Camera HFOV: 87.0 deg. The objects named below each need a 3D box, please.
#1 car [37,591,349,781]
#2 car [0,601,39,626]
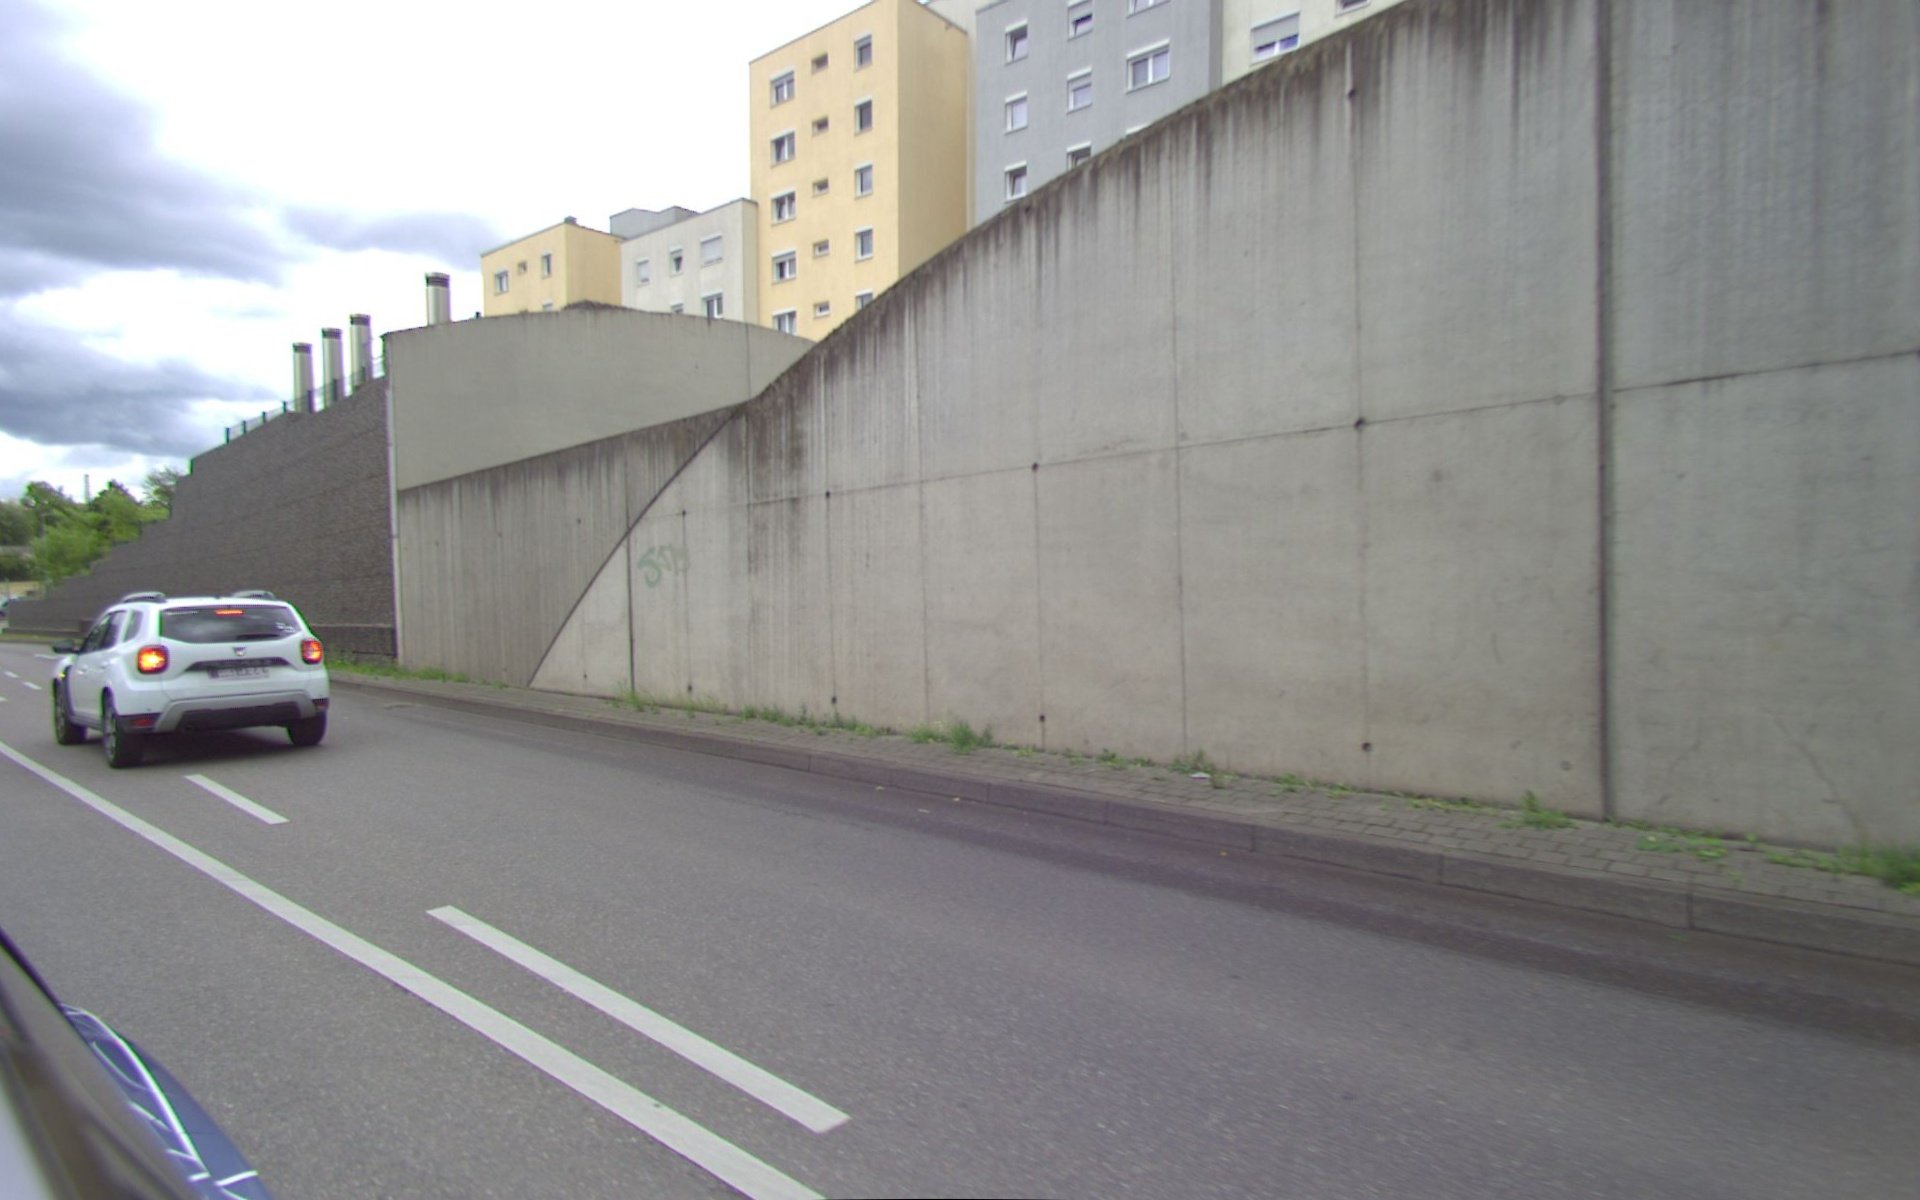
[{"bbox_3d":[-8.423,0.785,10.975,4.205,1.644,1.843,-1,0,41],"label":"car"},{"bbox_3d":[-77.510,1.148,81.996,1.736,1.741,4.261,-2,3,2],"label":"car"}]
